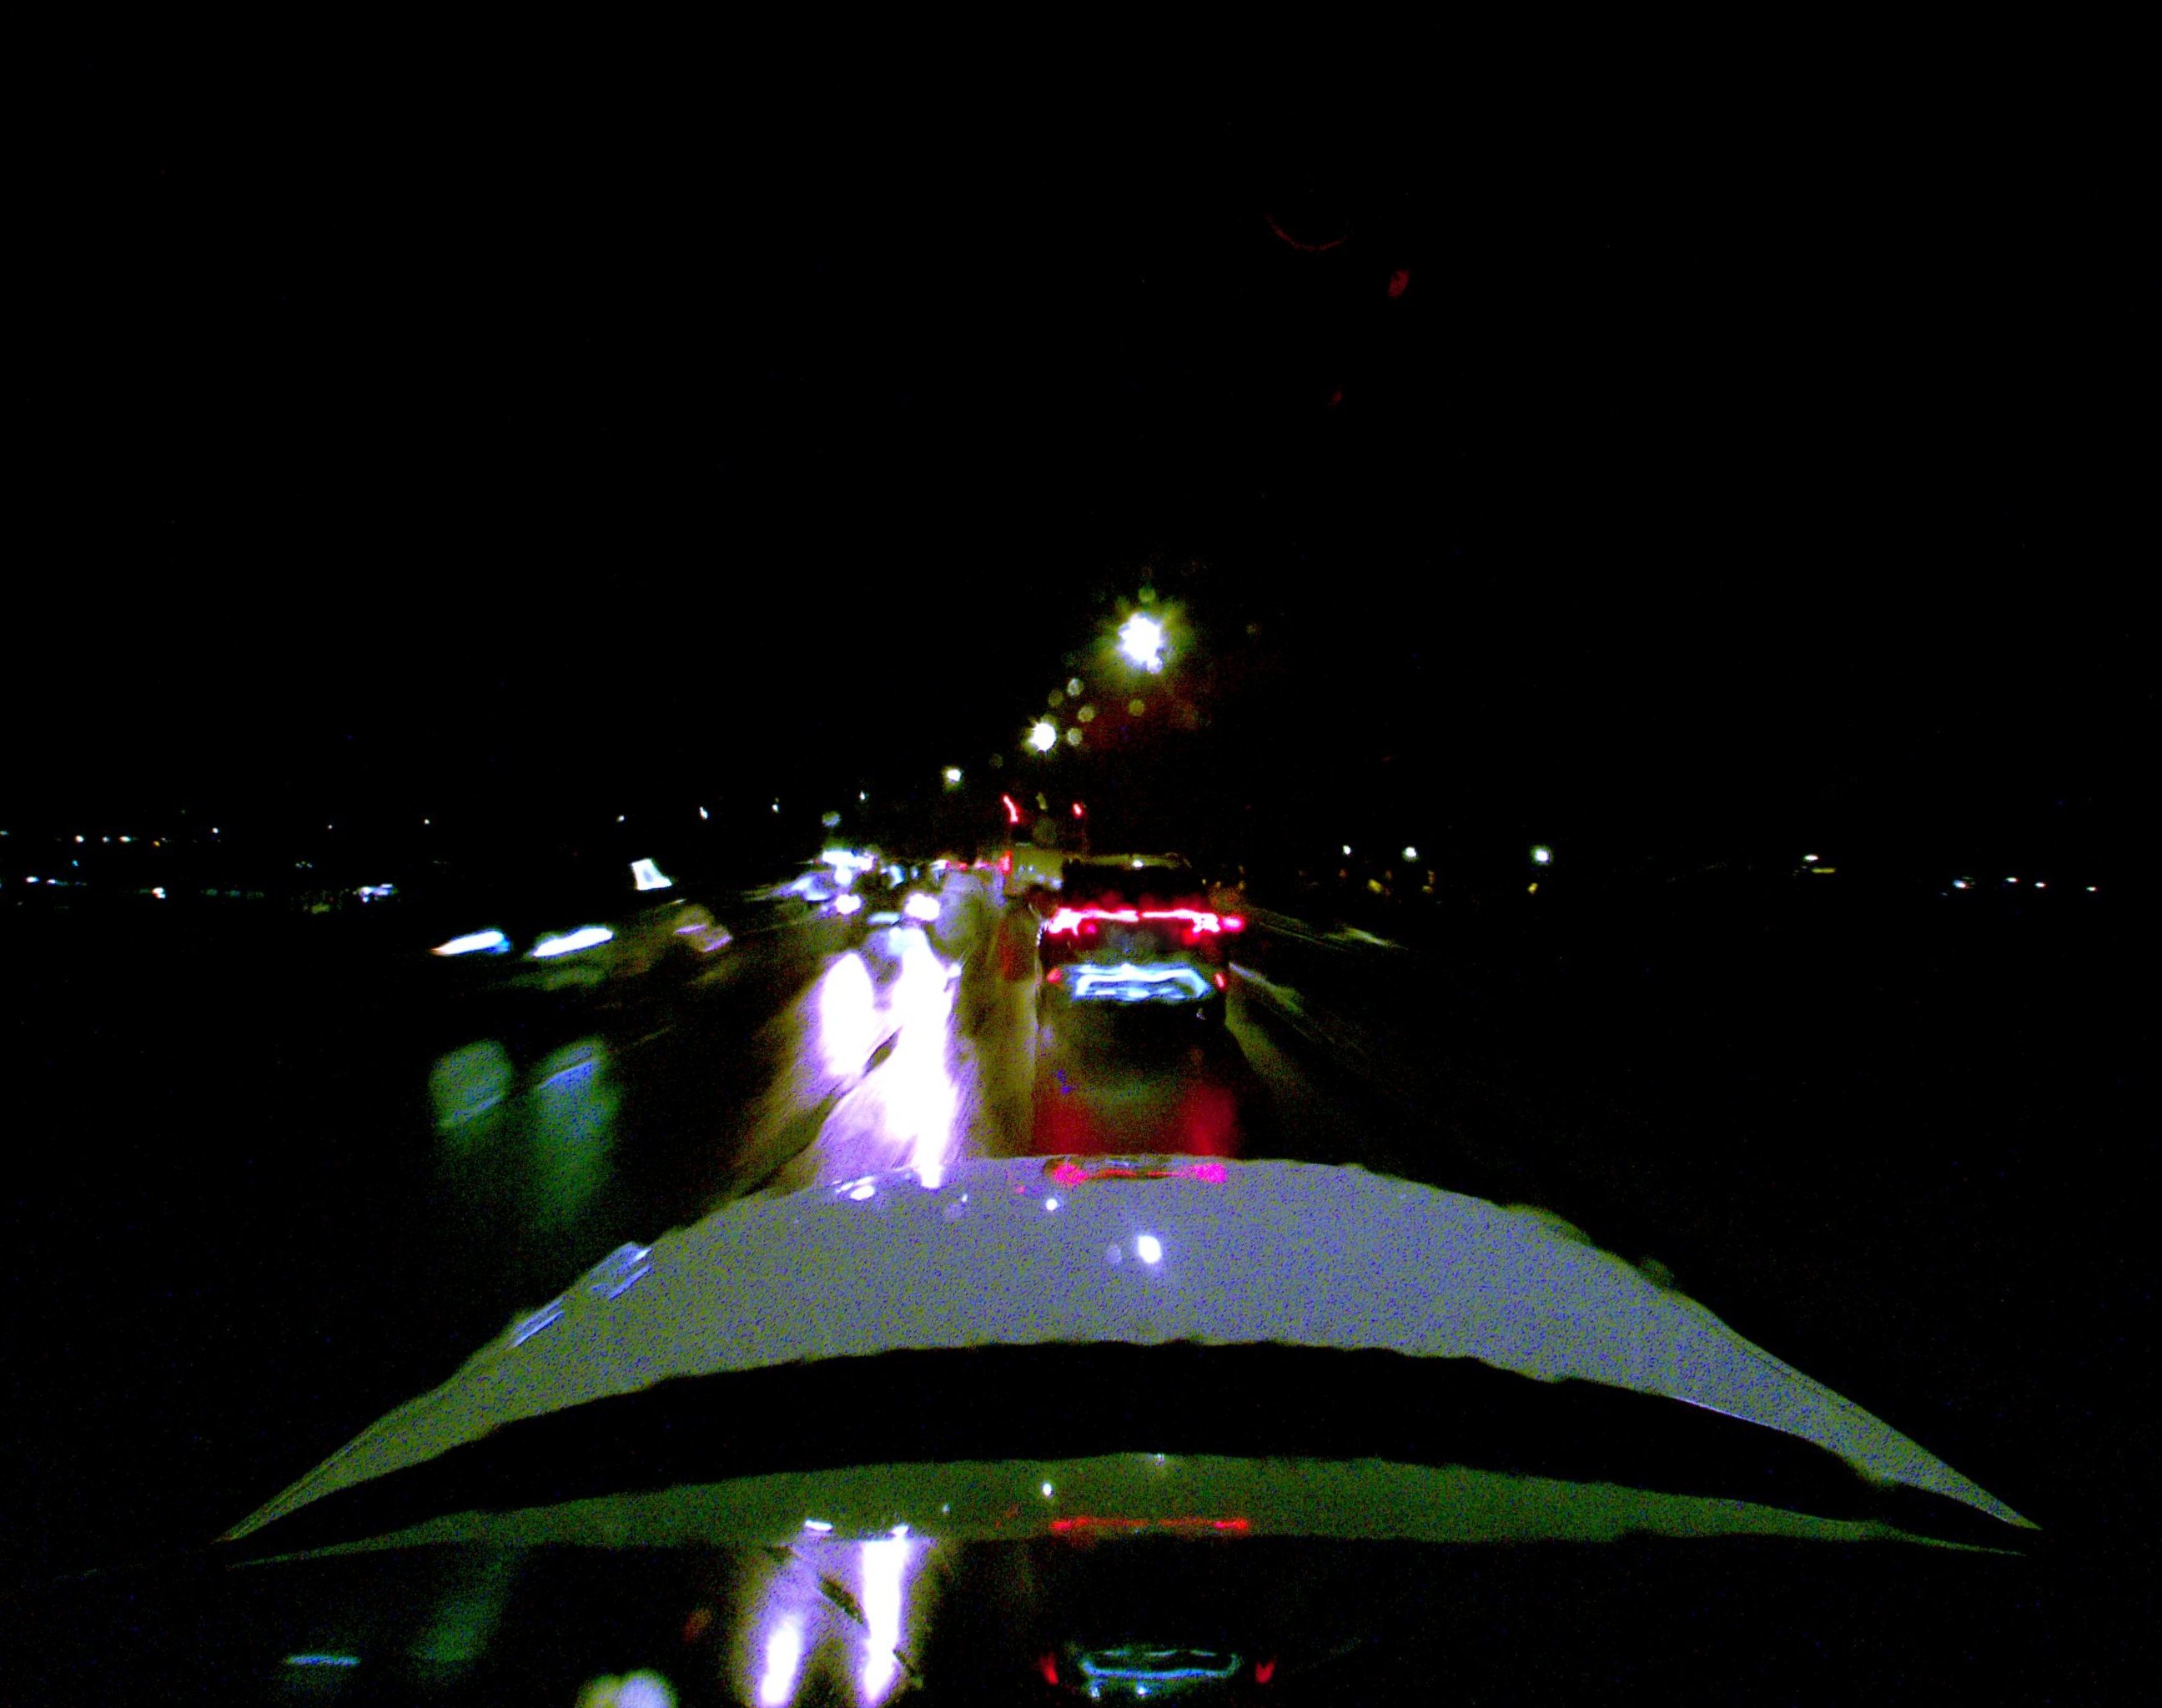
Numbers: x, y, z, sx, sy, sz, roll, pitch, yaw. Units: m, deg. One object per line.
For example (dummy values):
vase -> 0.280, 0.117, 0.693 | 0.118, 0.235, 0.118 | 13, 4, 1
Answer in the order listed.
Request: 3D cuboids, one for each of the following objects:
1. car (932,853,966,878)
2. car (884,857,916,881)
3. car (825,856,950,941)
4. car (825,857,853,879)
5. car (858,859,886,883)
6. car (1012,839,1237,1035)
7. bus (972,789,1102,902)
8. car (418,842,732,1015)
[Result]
car -> -9.597, 0.871, 59.111 | 1.642, 1.655, 3.683 | -4, 0, -21
car -> -11.570, 0.940, 52.246 | 1.815, 1.404, 4.034 | -2, 1, -10
car -> -3.736, 0.777, 16.425 | 1.893, 1.439, 4.054 | -1, 0, -6
car -> -23.371, 1.335, 78.495 | 1.677, 2.013, 3.962 | -1, 0, -30
car -> -17.211, 1.366, 66.943 | 1.760, 1.861, 3.972 | -2, 0, -20
car -> 0.248, 0.692, 8.683 | 1.852, 1.586, 3.994 | 0, 0, -4
bus -> -2.055, -0.288, 29.211 | 3.084, 3.132, 12.652 | -1, 1, -10
car -> -5.431, 0.680, 9.230 | 1.465, 1.584, 3.192 | -1, 1, 1
